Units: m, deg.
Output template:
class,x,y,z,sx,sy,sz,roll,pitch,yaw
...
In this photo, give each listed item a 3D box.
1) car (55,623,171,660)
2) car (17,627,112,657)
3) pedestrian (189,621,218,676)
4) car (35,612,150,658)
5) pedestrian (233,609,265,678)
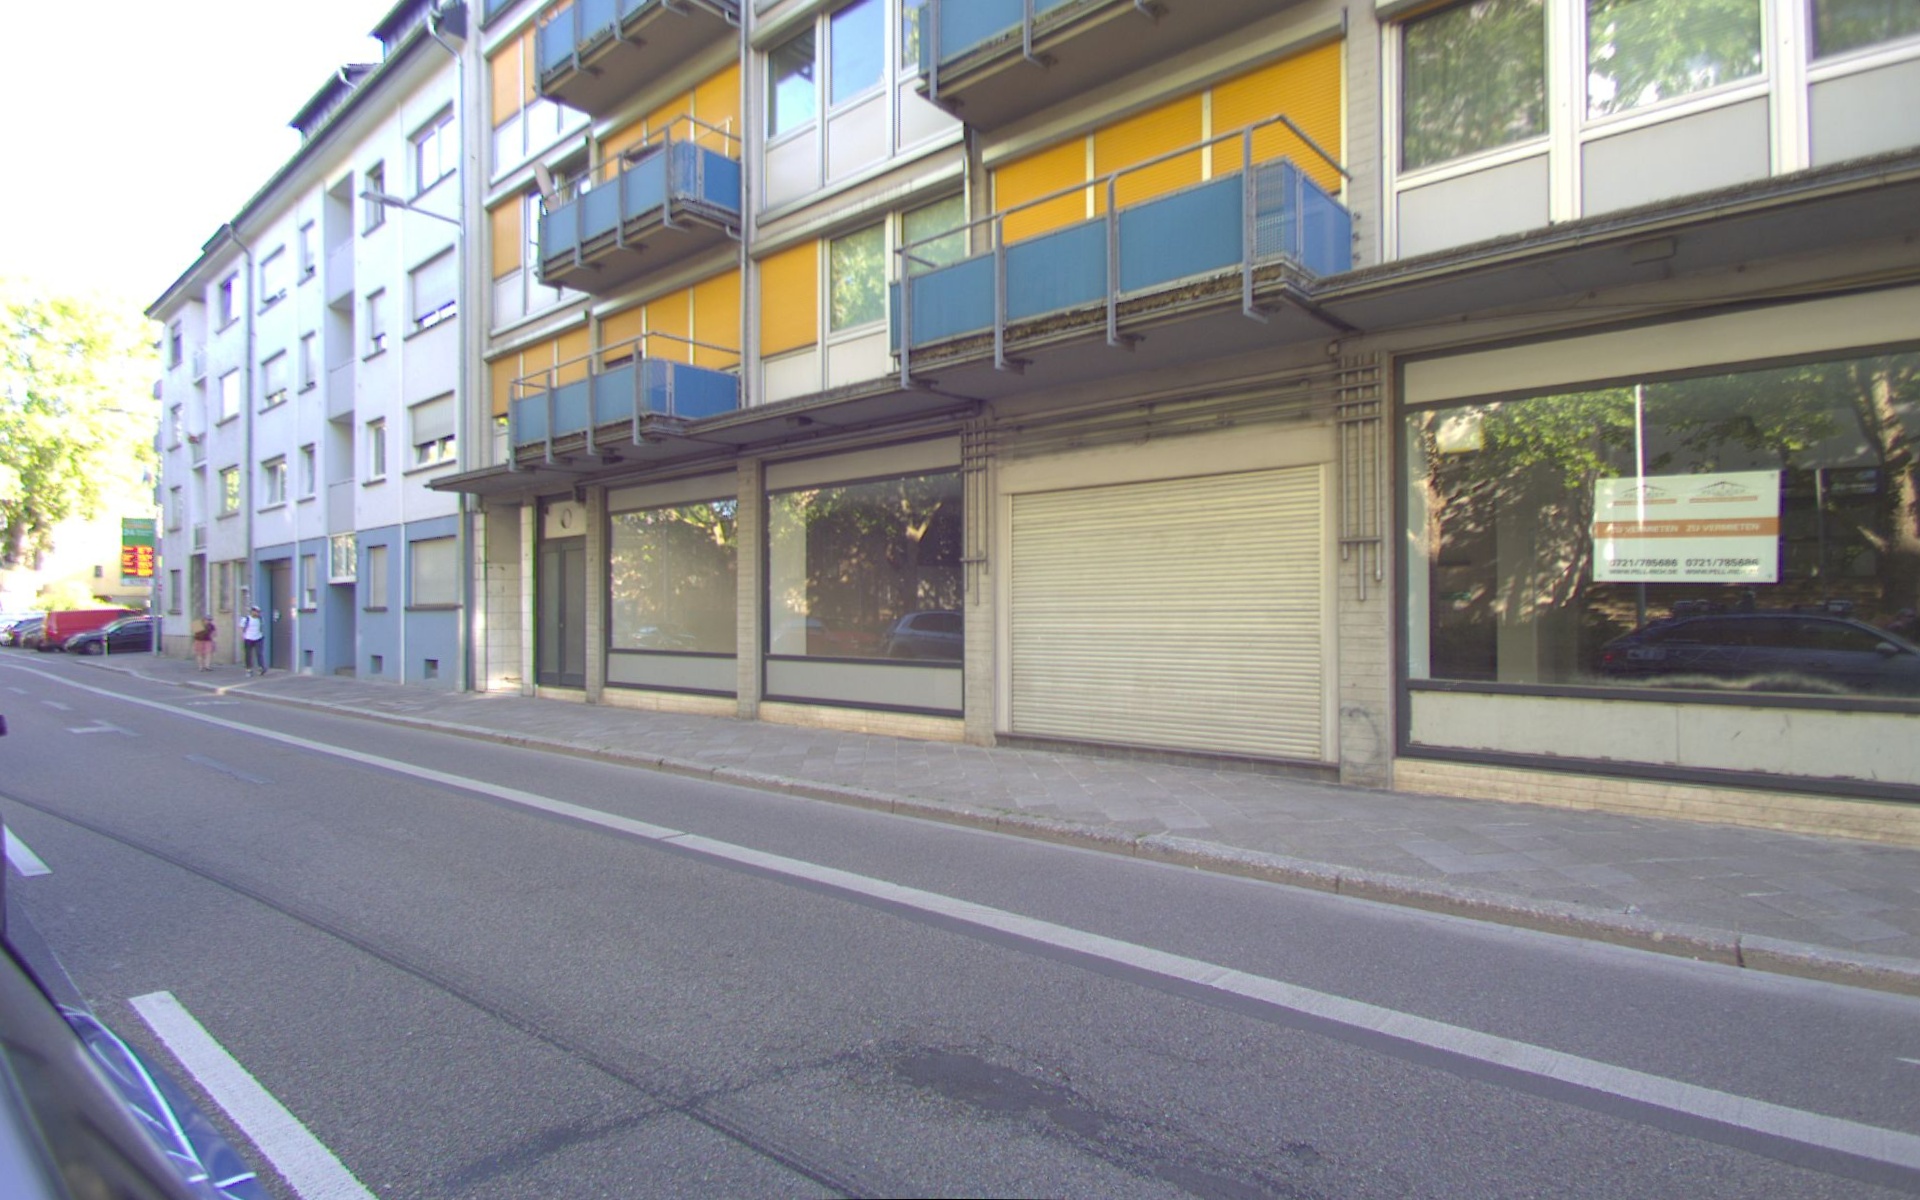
class,x,y,z,sx,sy,sz,roll,pitch,yaw
car,-36.666,1.770,43.862,1.635,1.422,3.623,-1,0,41
car,-42.938,2.000,48.569,1.294,1.258,3.283,-1,0,41
pedestrian,-21.534,1.367,28.823,0.343,1.529,0.562,-2,0,41
car,-40.557,1.583,47.365,1.635,1.937,3.878,-1,0,41
pedestrian,-18.219,1.109,25.930,0.343,1.739,0.562,-2,0,41
